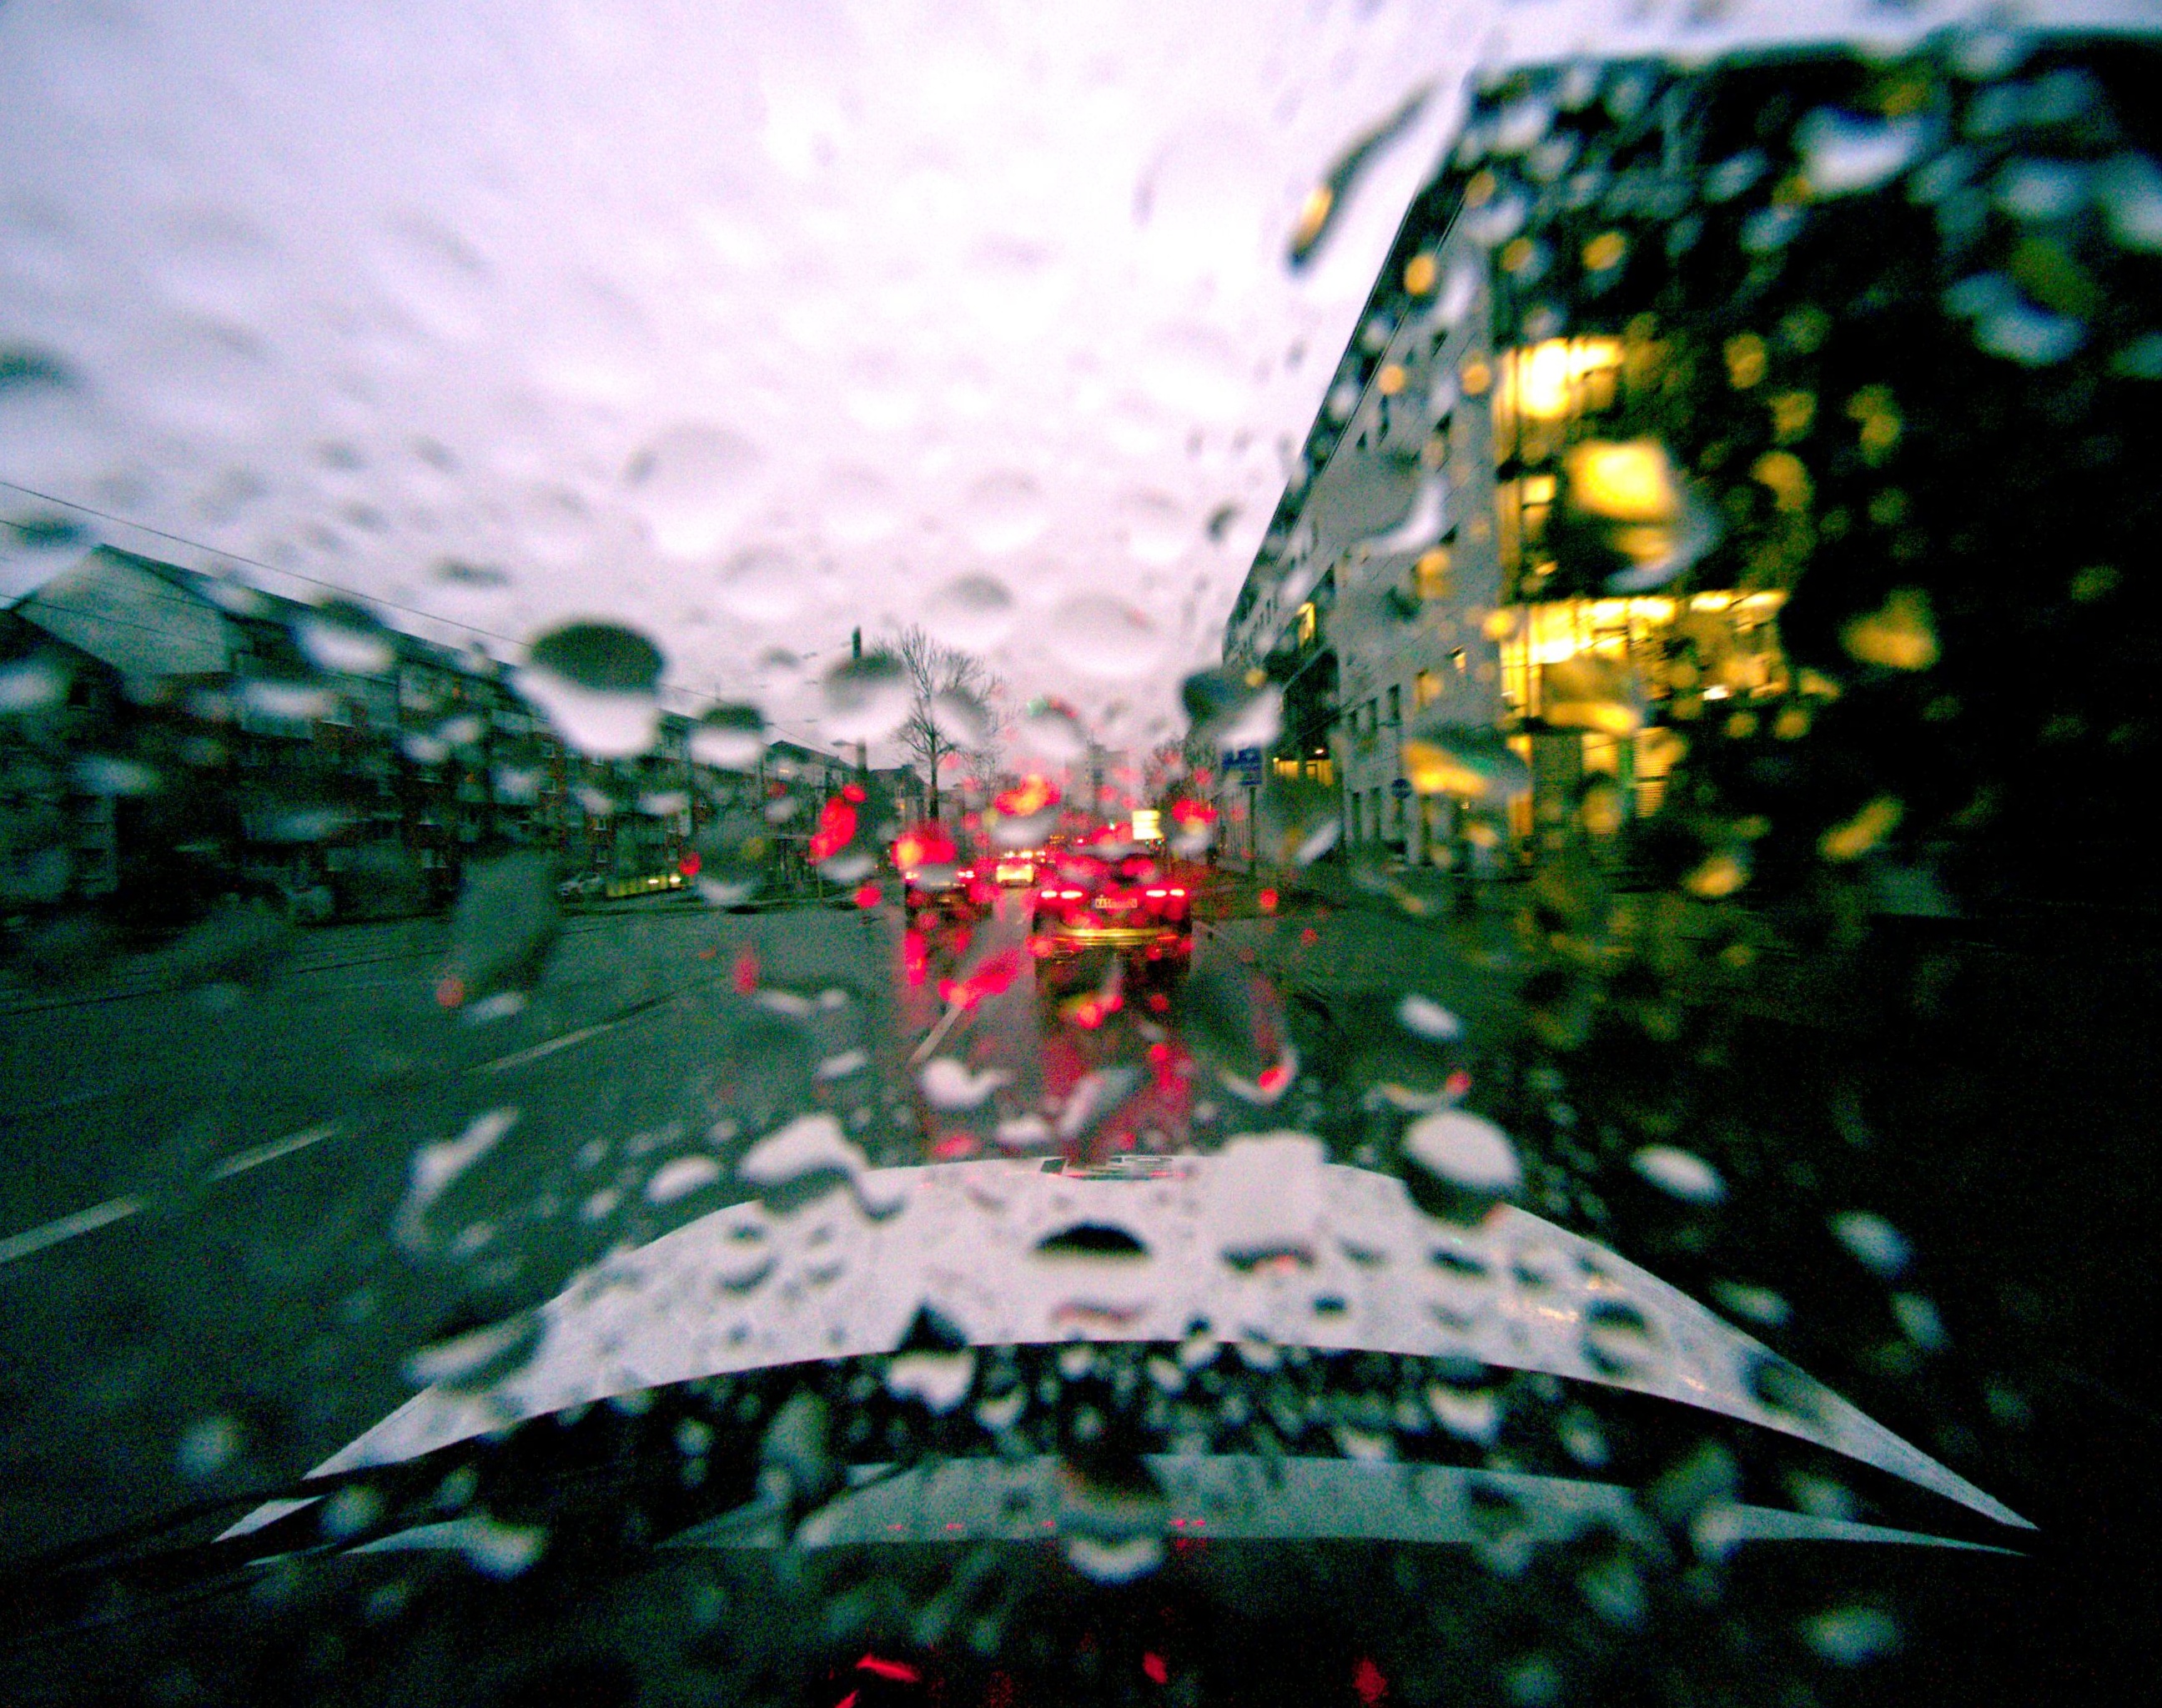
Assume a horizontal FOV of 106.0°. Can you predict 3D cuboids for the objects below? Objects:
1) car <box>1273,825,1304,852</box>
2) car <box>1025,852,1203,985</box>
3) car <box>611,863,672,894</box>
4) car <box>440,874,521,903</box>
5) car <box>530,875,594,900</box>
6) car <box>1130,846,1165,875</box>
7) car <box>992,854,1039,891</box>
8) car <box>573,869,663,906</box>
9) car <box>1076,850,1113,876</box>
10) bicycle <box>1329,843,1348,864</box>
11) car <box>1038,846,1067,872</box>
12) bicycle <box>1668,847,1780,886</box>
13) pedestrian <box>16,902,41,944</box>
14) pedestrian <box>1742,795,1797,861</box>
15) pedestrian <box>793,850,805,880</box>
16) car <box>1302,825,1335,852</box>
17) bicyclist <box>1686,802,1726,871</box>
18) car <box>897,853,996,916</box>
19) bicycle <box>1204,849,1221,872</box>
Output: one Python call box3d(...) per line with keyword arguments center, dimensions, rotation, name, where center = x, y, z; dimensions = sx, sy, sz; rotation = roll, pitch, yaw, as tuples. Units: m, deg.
box3d(center=(13.812, -1.004, 54.406), dimensions=(1.618, 1.759, 3.429), rotation=(0, 0, 8), name="car")
box3d(center=(0.465, 0.721, 10.940), dimensions=(1.985, 1.483, 3.703), rotation=(0, 0, 3), name="car")
box3d(center=(-30.003, 1.634, 55.749), dimensions=(1.987, 2.013, 3.999), rotation=(0, 0, -1), name="car")
box3d(center=(-30.000, 1.692, 40.796), dimensions=(1.439, 1.287, 3.388), rotation=(0, 0, 2), name="car")
box3d(center=(-29.844, 1.894, 46.950), dimensions=(1.439, 1.287, 3.388), rotation=(0, 0, 2), name="car")
box3d(center=(3.808, 0.352, 47.044), dimensions=(1.843, 1.555, 3.432), rotation=(0, 0, 1), name="car")
box3d(center=(-2.977, 0.812, 37.731), dimensions=(1.683, 1.635, 3.476), rotation=(0, 0, 3), name="car")
box3d(center=(-18.688, 1.316, 33.038), dimensions=(1.439, 1.342, 3.639), rotation=(0, 0, 2), name="car")
box3d(center=(0.846, 0.511, 48.861), dimensions=(1.858, 1.543, 3.617), rotation=(0, 0, 6), name="car")
box3d(center=(11.563, -0.022, 36.604), dimensions=(0.373, 0.929, 1.076), rotation=(-1, 2, -11), name="bicycle")
box3d(center=(-2.008, 0.333, 57.550), dimensions=(1.654, 1.759, 3.572), rotation=(0, 0, 4), name="car")
box3d(center=(12.686, 0.233, 16.123), dimensions=(1.711, 0.745, 0.656), rotation=(0, 0, 37), name="bicycle")
box3d(center=(-30.599, 1.992, 23.671), dimensions=(0.348, 1.184, 0.429), rotation=(0, 0, -38), name="pedestrian")
box3d(center=(17.617, -0.652, 20.855), dimensions=(0.803, 1.654, 0.727), rotation=(0, 0, 5), name="pedestrian")
box3d(center=(-15.800, 0.629, 45.639), dimensions=(0.490, 1.656, 0.465), rotation=(0, 0, 20), name="pedestrian")
box3d(center=(15.763, -0.996, 54.129), dimensions=(1.618, 1.759, 3.429), rotation=(0, 0, 8), name="car")
box3d(center=(12.493, -0.344, 16.287), dimensions=(0.615, 1.330, 0.569), rotation=(0, 0, 36), name="bicyclist")
box3d(center=(-3.368, 0.719, 21.138), dimensions=(1.811, 1.450, 4.001), rotation=(0, 0, 1), name="car")
box3d(center=(5.713, 0.288, 35.367), dimensions=(0.543, 0.965, 1.346), rotation=(0, 0, 1), name="bicycle")
